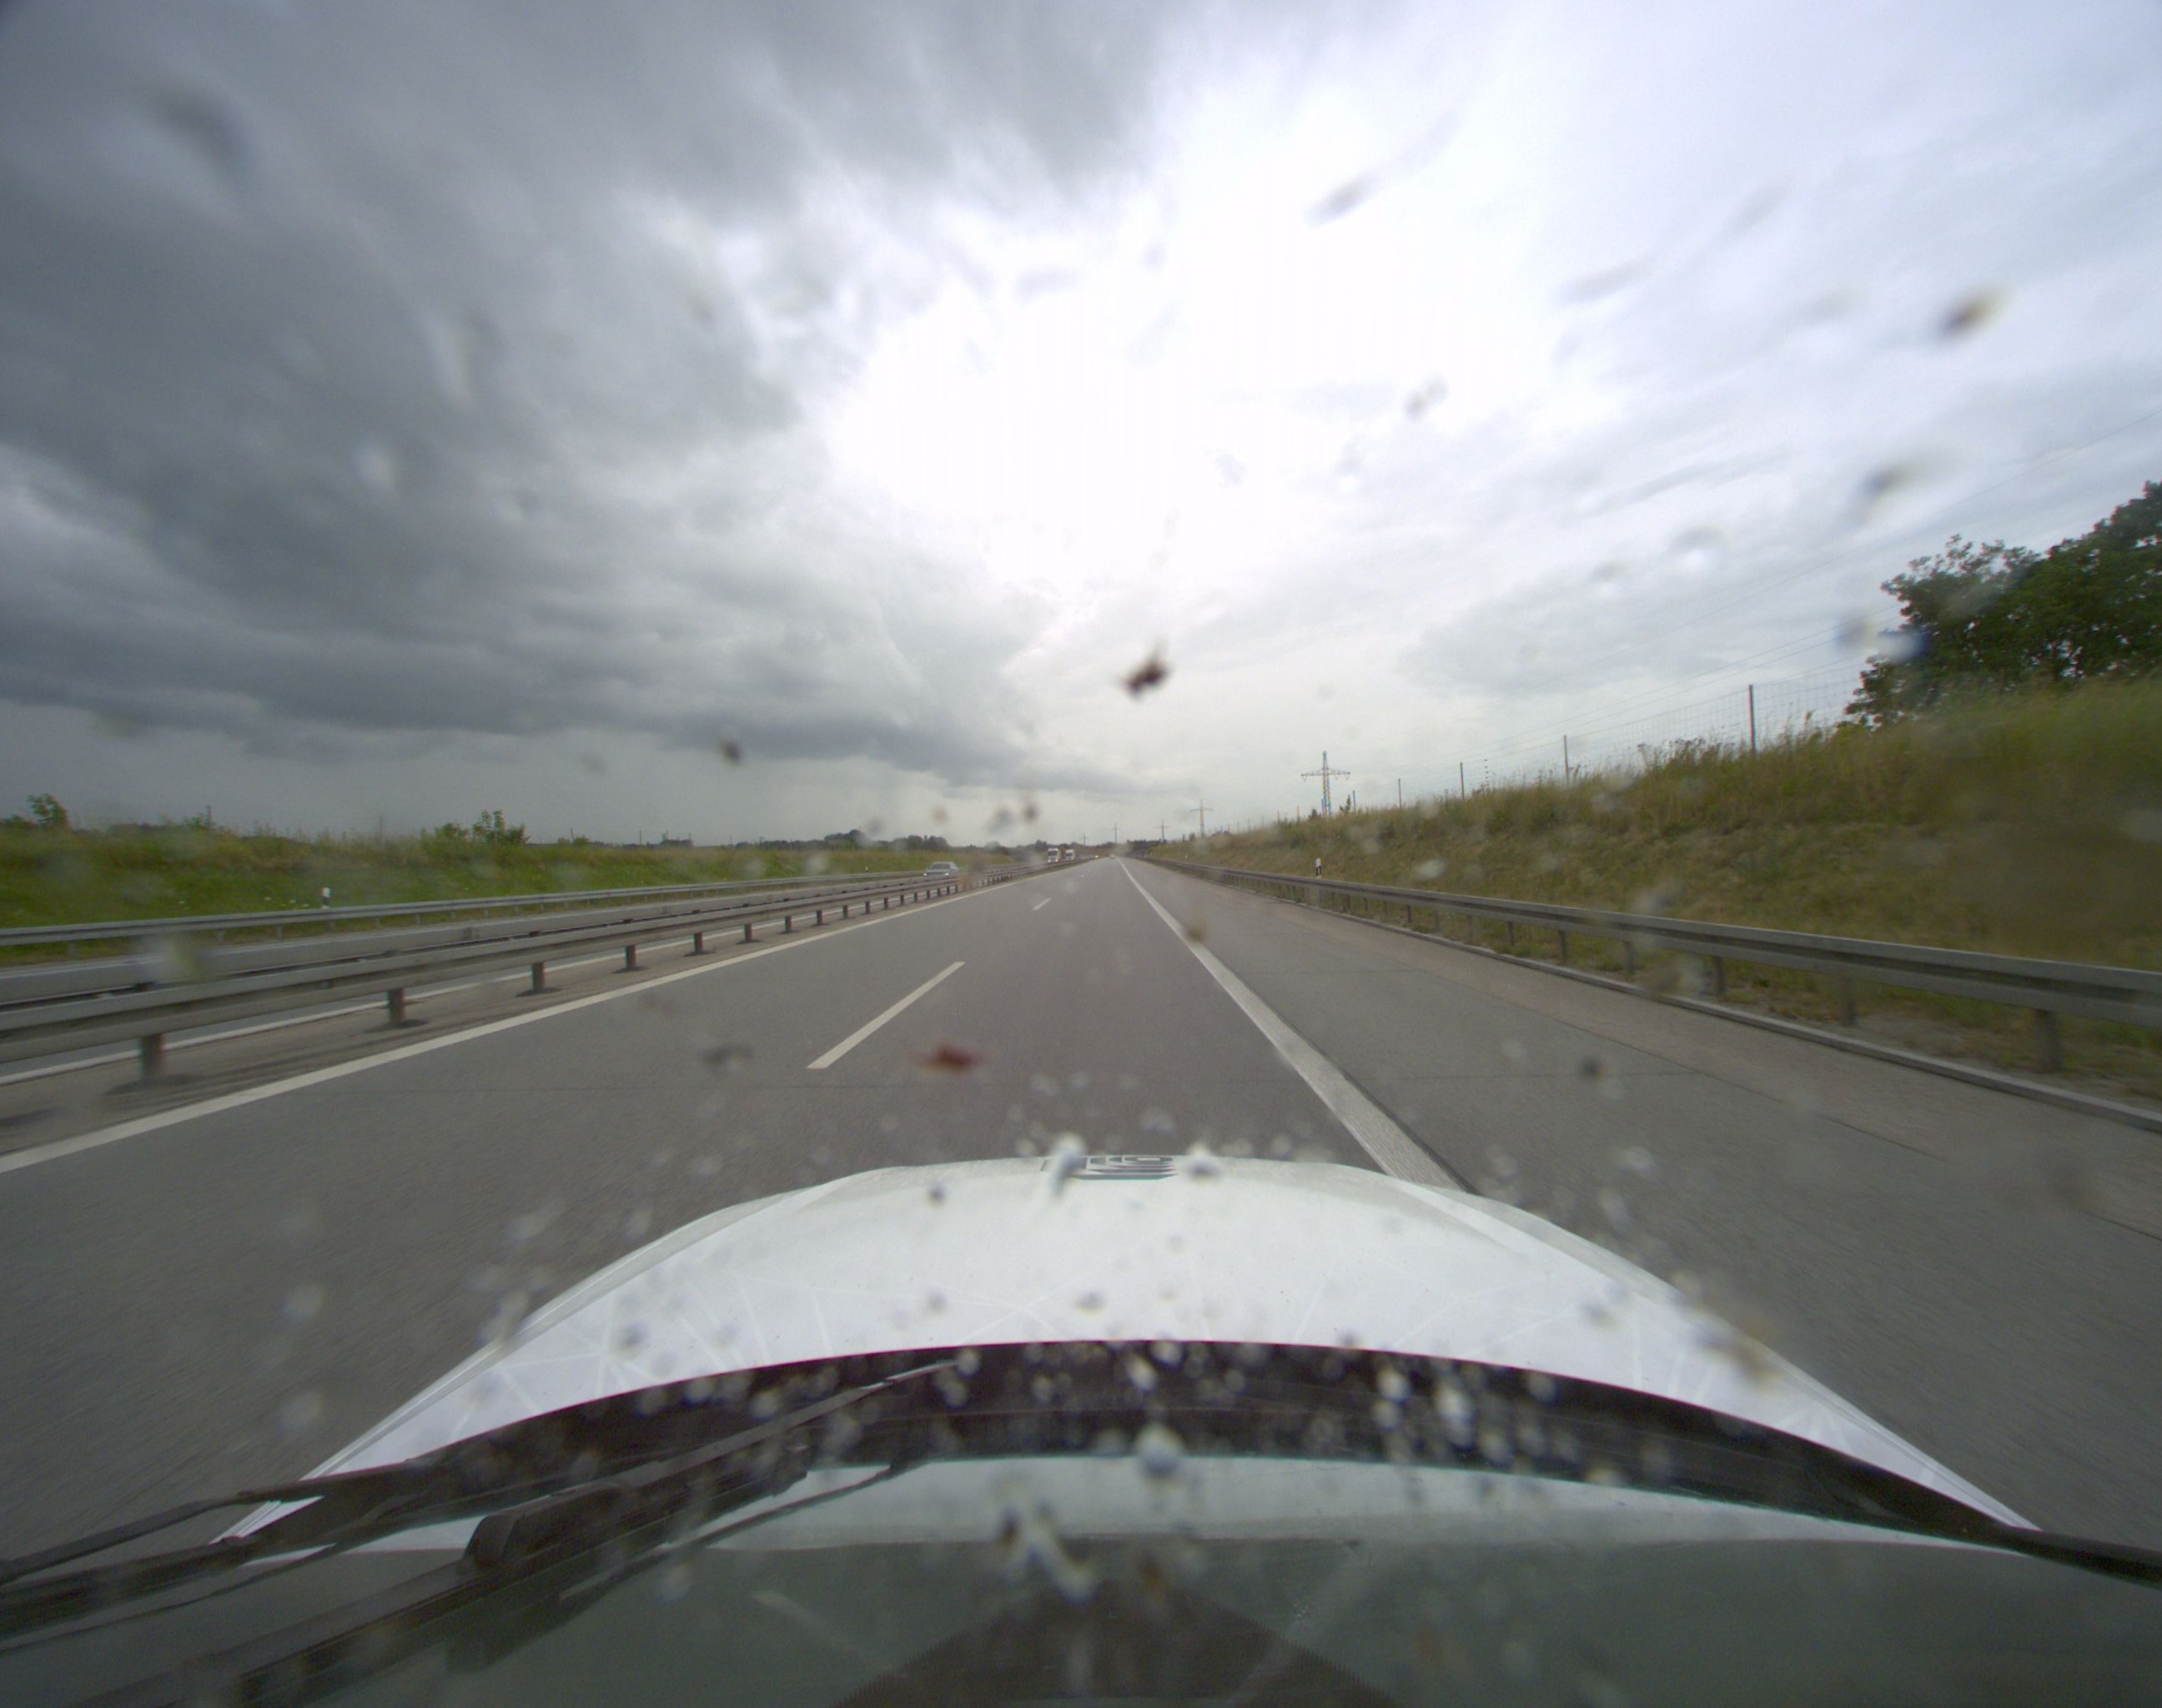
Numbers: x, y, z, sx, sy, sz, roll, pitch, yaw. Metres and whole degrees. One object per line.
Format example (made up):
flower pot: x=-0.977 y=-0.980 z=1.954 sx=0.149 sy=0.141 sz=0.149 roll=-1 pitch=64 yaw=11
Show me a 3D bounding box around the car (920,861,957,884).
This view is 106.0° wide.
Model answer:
car: x=-9.705 y=1.233 z=55.661 sx=1.758 sy=1.424 sz=3.999 roll=-2 pitch=0 yaw=0
